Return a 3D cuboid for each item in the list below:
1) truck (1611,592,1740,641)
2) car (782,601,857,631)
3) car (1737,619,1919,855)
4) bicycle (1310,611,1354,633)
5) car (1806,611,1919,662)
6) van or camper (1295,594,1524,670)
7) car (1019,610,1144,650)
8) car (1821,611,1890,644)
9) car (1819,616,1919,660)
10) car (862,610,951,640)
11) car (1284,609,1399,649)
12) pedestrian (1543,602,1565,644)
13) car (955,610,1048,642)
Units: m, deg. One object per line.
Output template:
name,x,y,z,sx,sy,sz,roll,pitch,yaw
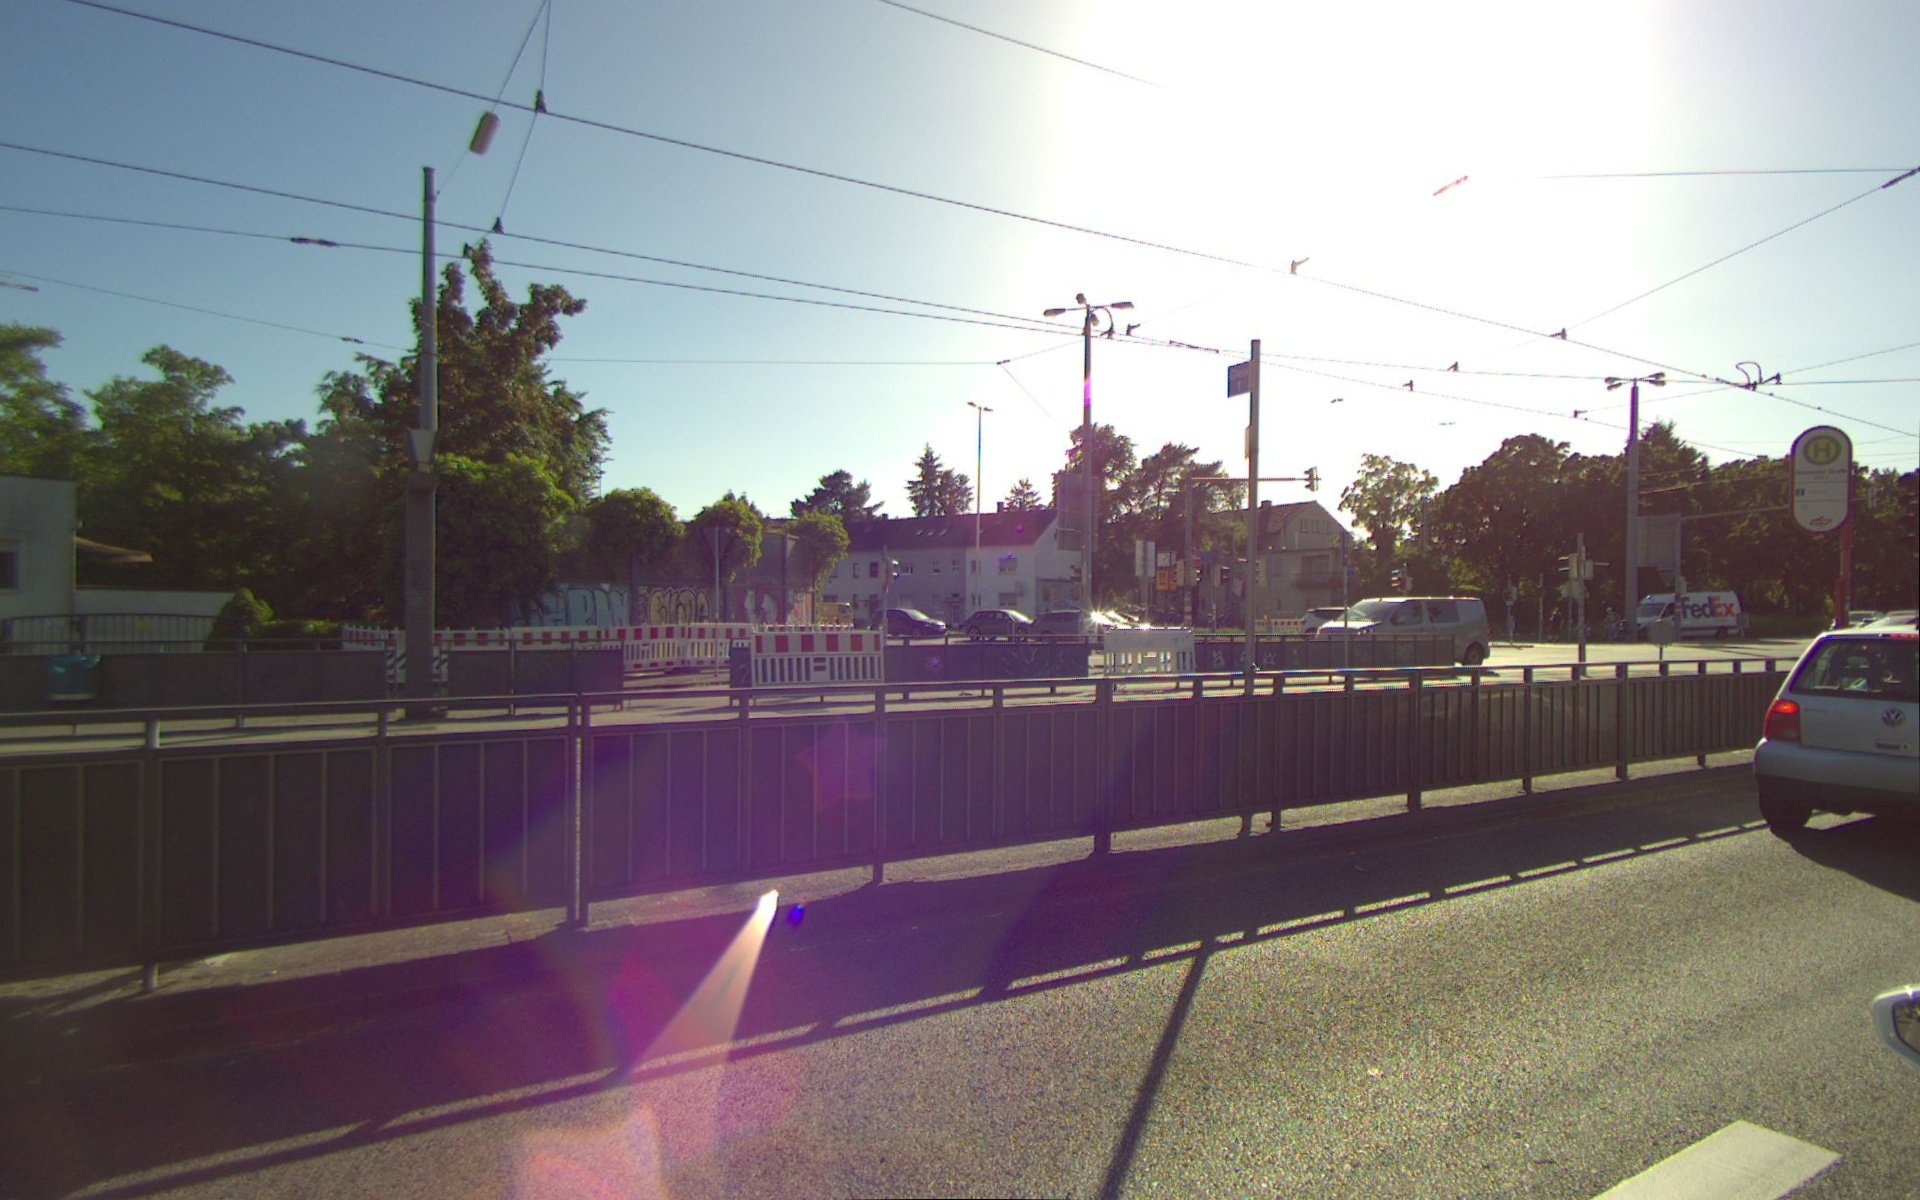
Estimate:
truck,39.161,0.908,54.976,6.710,2.599,1.994,1,0,-16
car,-9.784,1.082,69.640,5.084,1.905,1.994,2,1,34
car,7.212,0.877,7.129,3.312,1.436,1.611,1,-1,-31
bicycle,22.392,1.308,60.536,2.370,1.279,0.813,0,0,43
car,26.799,1.023,28.604,3.935,1.421,1.610,0,-1,6
van or camper,11.854,0.820,26.453,5.899,1.852,1.990,1,-1,-22
car,4.892,1.169,40.673,4.754,1.517,1.781,0,-1,34
car,44.500,1.346,49.897,3.963,1.568,1.819,1,-1,-37
car,31.096,1.248,33.390,3.601,1.397,1.529,0,-1,10
car,-2.697,1.211,50.072,4.212,1.451,1.788,0,-1,34
car,14.950,1.092,39.469,3.937,1.498,1.709,0,-1,38
pedestrian,28.912,1.114,48.891,0.785,2.040,0.741,1,-1,-42
car,1.914,1.192,46.728,4.104,1.451,1.589,0,-1,34
